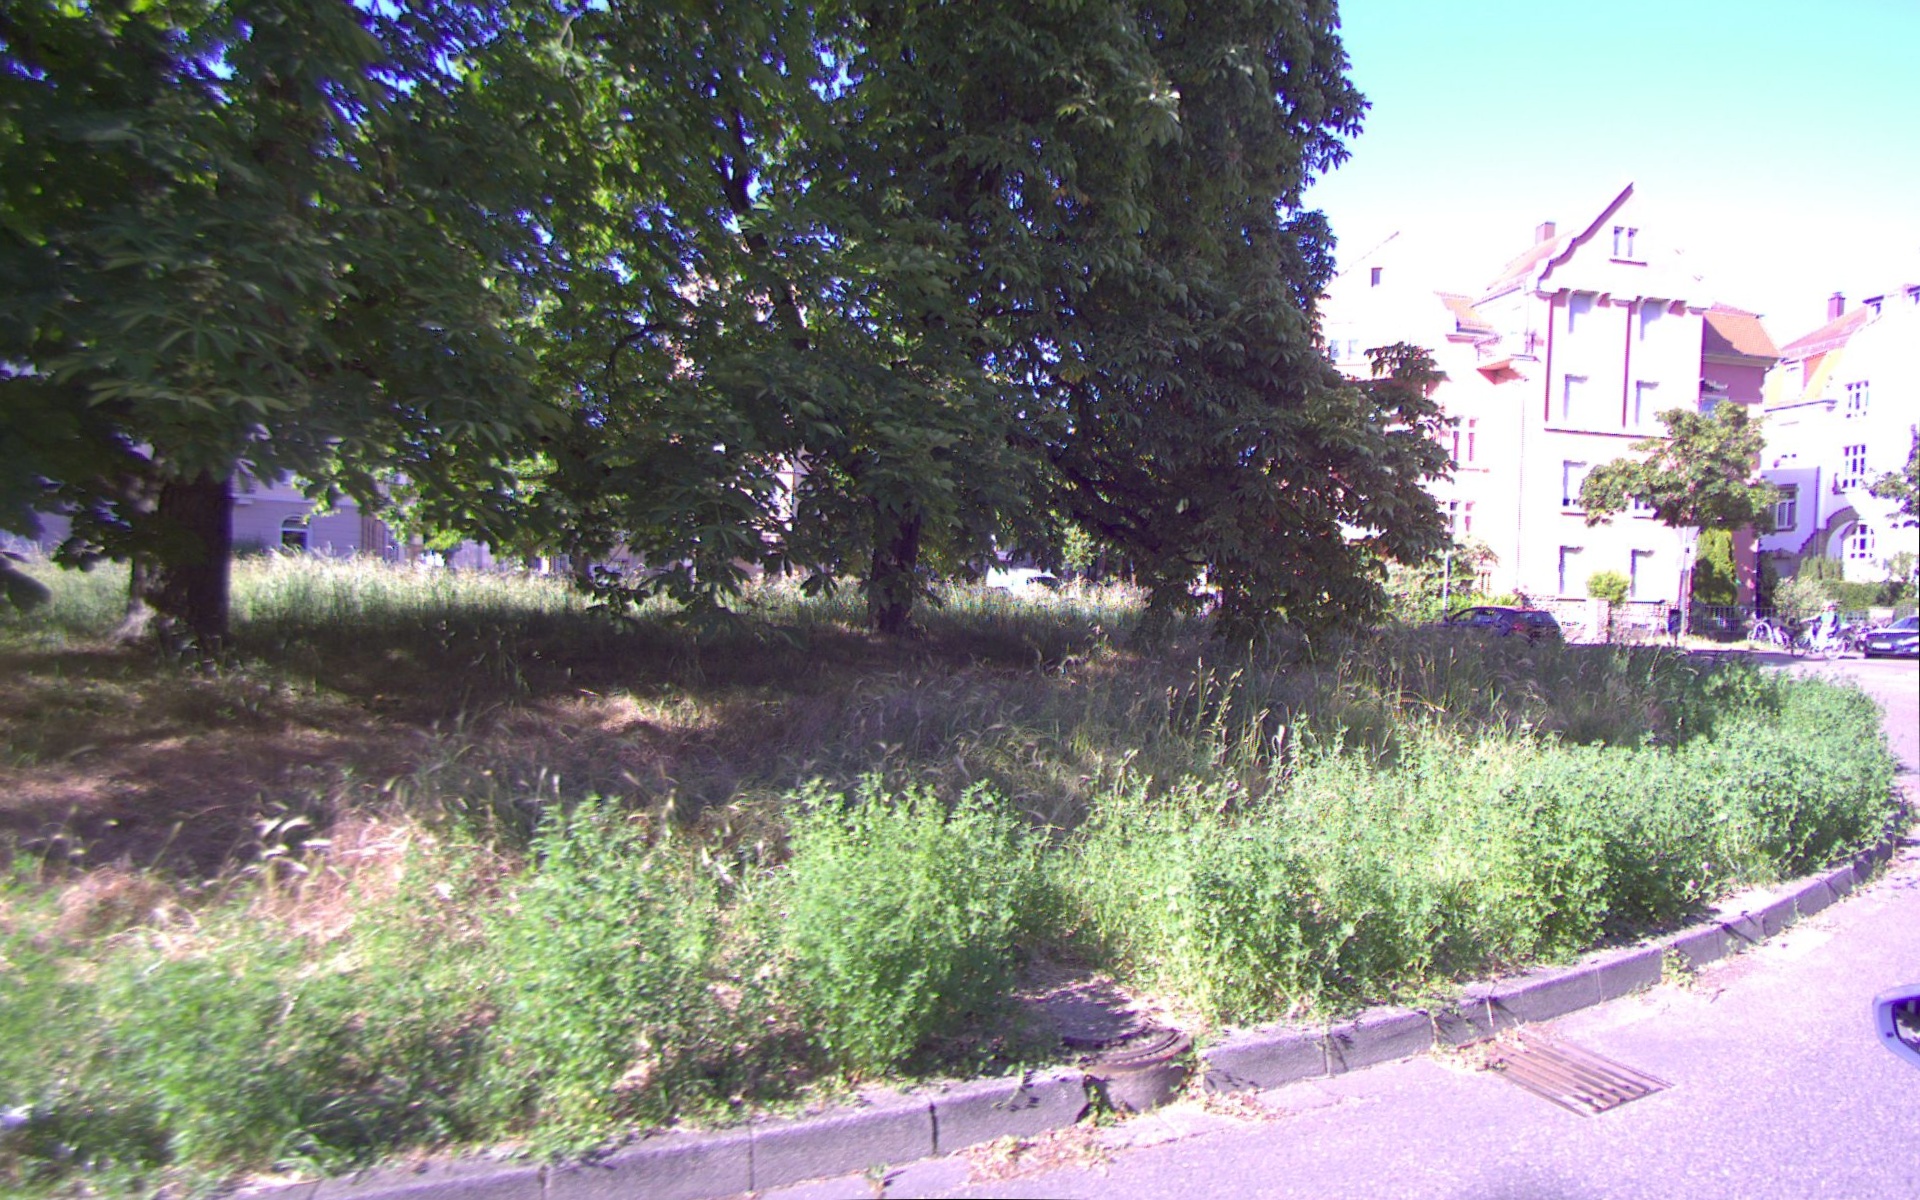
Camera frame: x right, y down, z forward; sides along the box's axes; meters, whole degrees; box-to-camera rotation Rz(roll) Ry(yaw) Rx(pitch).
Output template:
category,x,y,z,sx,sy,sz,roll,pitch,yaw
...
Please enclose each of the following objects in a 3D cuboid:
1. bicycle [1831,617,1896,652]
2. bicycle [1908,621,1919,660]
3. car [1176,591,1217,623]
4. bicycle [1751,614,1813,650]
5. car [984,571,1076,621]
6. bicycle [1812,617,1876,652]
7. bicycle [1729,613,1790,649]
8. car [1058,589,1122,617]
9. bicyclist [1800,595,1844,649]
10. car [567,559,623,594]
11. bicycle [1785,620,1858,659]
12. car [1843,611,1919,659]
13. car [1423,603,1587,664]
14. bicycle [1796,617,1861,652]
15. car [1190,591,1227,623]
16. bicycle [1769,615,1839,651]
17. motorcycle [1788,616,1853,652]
category,x,y,z,sx,sy,sz,roll,pitch,yaw
bicycle,32.676,1.238,36.355,0.507,1.122,1.722,1,3,-13
bicycle,28.845,1.214,29.542,1.690,1.122,0.643,2,1,-18
car,11.897,0.317,50.395,1.654,1.466,3.547,3,1,17
bicycle,29.138,1.134,35.620,0.536,1.130,1.723,1,2,-10
car,4.073,-0.287,59.828,2.080,2.635,6.321,2,1,-31
bicycle,31.799,1.228,36.174,0.492,1.122,1.722,1,3,-13
bicycle,28.207,1.091,35.473,0.536,1.130,1.723,1,2,-10
car,7.697,0.193,59.493,3.325,1.466,1.684,4,1,32
bicyclist,26.015,0.662,30.324,0.789,1.602,0.595,1,0,-7
car,-21.507,-1.390,59.082,2.118,1.935,4.520,1,1,-32
bicycle,26.010,1.180,30.323,1.829,1.122,0.595,1,0,-8
car,31.368,1.157,32.789,4.267,1.503,1.804,1,-2,-16
car,14.330,0.843,26.685,1.836,1.438,3.995,2,0,-7
bicycle,31.190,1.213,36.081,0.493,1.122,1.720,1,3,-17
car,13.656,0.375,55.128,1.654,1.583,4.296,3,1,17
bicycle,30.006,1.158,35.735,0.494,1.122,1.817,0,3,-26
motorcycle,30.682,1.204,35.860,0.493,1.122,1.720,1,3,-17
